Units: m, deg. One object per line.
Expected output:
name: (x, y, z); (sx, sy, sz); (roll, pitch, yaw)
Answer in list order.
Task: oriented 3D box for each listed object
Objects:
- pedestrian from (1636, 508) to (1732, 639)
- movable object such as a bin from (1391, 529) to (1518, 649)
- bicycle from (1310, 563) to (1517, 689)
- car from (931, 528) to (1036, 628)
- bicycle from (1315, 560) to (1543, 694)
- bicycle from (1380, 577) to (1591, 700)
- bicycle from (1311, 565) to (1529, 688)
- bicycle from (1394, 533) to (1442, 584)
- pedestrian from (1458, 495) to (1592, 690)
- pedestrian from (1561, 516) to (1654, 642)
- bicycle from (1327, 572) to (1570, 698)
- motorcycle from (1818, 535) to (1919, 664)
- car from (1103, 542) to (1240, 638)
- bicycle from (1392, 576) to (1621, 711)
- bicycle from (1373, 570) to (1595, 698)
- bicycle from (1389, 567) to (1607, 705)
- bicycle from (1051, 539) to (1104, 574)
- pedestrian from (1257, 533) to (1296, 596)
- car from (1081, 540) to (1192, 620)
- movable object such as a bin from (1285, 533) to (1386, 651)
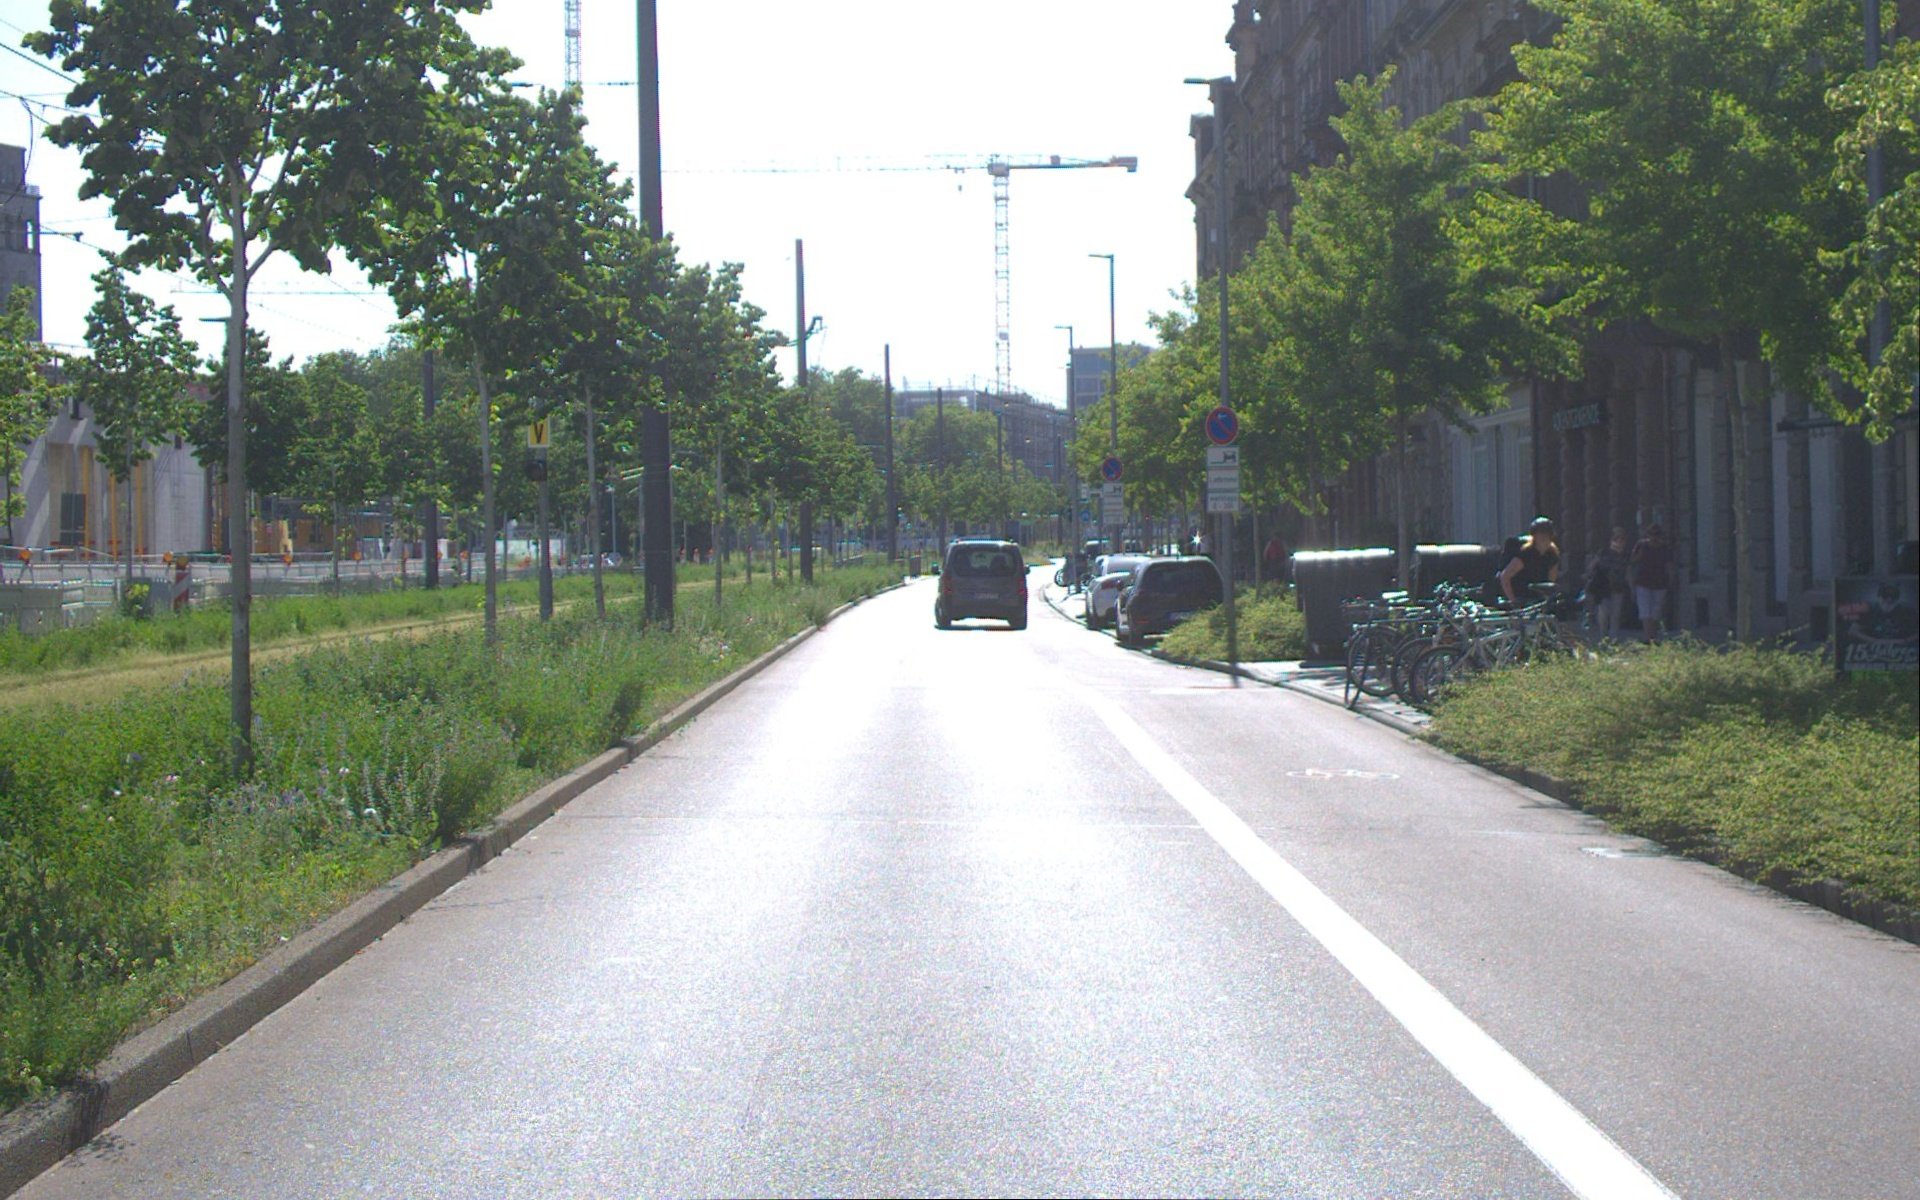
pedestrian: (9.339, -0.355, 44.367); (0.971, 1.633, 0.992); (-2, 2, 0)
movable object such as a bin: (6.561, -0.145, 45.739); (1.373, 1.490, 1.749); (-3, 0, 1)
bicycle: (4.656, 0.263, 35.325); (1.974, 1.120, 0.482); (-5, 2, -5)
car: (0.463, -0.461, 71.685); (1.993, 2.007, 4.000); (0, 0, -3)
bicycle: (4.620, 0.256, 33.832); (2.146, 1.150, 0.429); (-4, 1, -13)
bicycle: (4.880, 0.353, 31.980); (1.814, 1.052, 0.572); (-3, 1, -6)
bicycle: (4.664, 0.264, 34.917); (2.043, 1.103, 0.611); (-4, 1, -6)
bicycle: (9.962, -0.912, 74.898); (0.721, 1.086, 2.198); (-2, 1, 0)
pedestrian: (5.273, -0.073, 32.143); (0.899, 1.730, 0.849); (-5, 1, -8)
pedestrian: (8.356, -0.278, 44.424); (0.950, 1.561, 1.080); (-2, 2, -1)
bicycle: (4.764, 0.336, 33.489); (2.284, 1.098, 0.486); (-3, 1, -14)
motorcycle: (9.616, -0.016, 35.251); (0.866, 1.262, 2.982); (0, 0, -1)
car: (3.548, -0.180, 58.450); (1.765, 1.472, 4.449); (-3, 0, -3)
bicycle: (4.847, 0.380, 30.507); (1.891, 1.105, 0.518); (-3, 0, -5)
bicycle: (4.921, 0.318, 32.323); (1.977, 1.104, 0.435); (-3, 0, -3)
bicycle: (4.823, 0.318, 30.861); (1.866, 1.175, 0.374); (-2, 0, -3)
bicycle: (4.391, -1.623, 128.516); (1.878, 1.229, 0.500); (-3, 1, -5)
pedestrian: (8.729, -0.974, 94.831); (0.996, 1.725, 0.866); (0, 0, 0)
car: (3.611, -0.440, 71.157); (1.951, 1.490, 5.105); (-3, 1, 0)
movable object such as a bin: (4.965, -0.120, 45.567); (1.271, 1.458, 1.644); (0, 3, 4)
